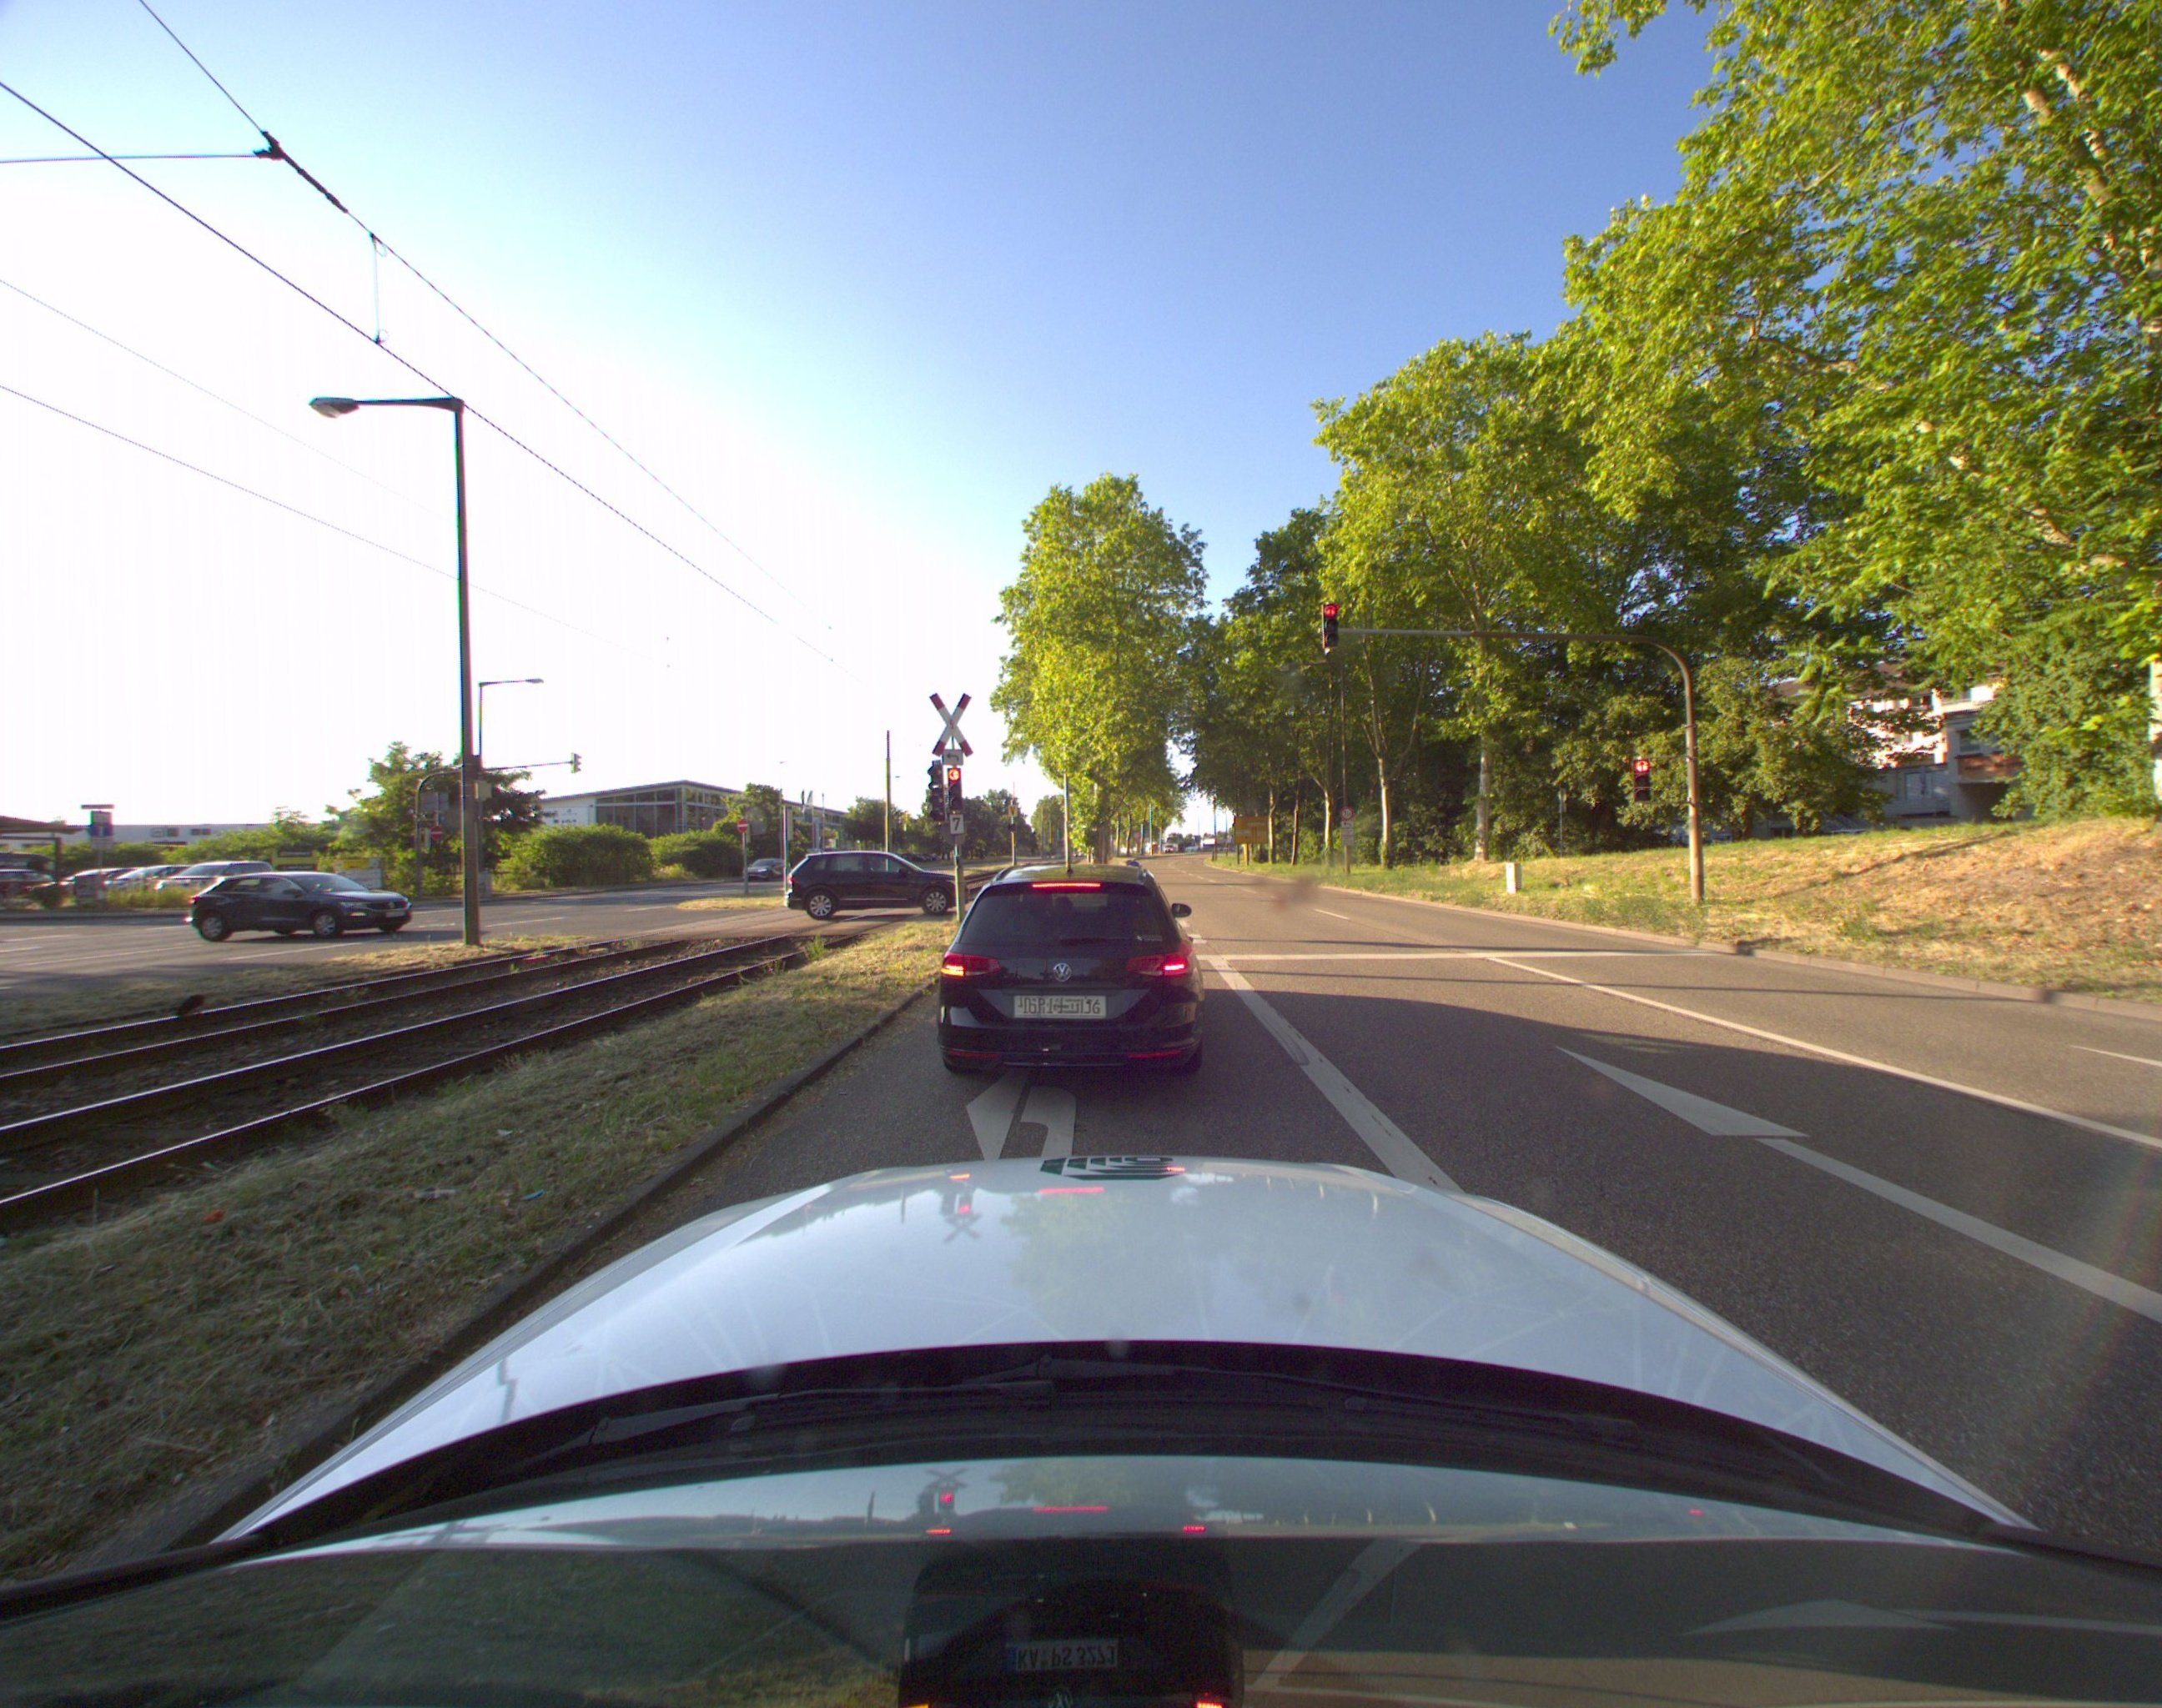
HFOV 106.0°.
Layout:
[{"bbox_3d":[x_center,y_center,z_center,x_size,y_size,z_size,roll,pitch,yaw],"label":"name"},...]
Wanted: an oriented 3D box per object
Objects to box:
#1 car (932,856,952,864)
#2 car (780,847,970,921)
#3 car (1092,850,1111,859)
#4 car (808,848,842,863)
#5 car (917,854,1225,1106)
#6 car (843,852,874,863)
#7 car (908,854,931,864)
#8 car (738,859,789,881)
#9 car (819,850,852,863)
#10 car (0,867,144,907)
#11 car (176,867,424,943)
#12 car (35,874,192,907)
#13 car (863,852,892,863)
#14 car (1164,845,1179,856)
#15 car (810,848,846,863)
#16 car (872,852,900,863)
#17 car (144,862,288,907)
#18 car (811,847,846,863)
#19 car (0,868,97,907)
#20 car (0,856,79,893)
[{"bbox_3d":[-28.808,1.199,168.941,3.977,1.556,1.742,-1,0,-2],"label":"car"},{"bbox_3d":[-5.057,0.698,20.386,4.358,1.635,1.871,-2,0,-12],"label":"car"},{"bbox_3d":[3.693,0.037,145.585,1.845,1.481,4.115,0,0,24],"label":"car"},{"bbox_3d":[-31.641,0.139,100.539,3.999,1.816,1.732,-1,0,-19],"label":"car"},{"bbox_3d":[-0.013,0.737,6.544,1.788,1.464,3.584,0,0,1],"label":"car"},{"bbox_3d":[-31.433,0.485,115.334,3.983,1.556,1.739,-1,0,-7],"label":"car"},{"bbox_3d":[-29.101,0.880,146.861,3.978,1.621,1.742,-1,0,-3],"label":"car"},{"bbox_3d":[-23.151,1.156,59.495,1.854,1.481,4.176,0,0,3],"label":"car"},{"bbox_3d":[-31.147,0.309,103.439,3.999,1.556,1.732,-1,0,-19],"label":"car"},{"bbox_3d":[-44.706,1.405,35.913,1.855,1.583,4.174,0,0,2],"label":"car"},{"bbox_3d":[-18.397,1.175,19.329,4.139,1.561,1.713,-2,0,0],"label":"car"},{"bbox_3d":[-42.466,1.564,35.910,1.855,1.267,4.174,0,0,2],"label":"car"},{"bbox_3d":[-30.603,0.556,122.767,3.978,1.621,1.742,-1,0,-3],"label":"car"},{"bbox_3d":[20.162,-0.718,181.688,2.078,2.461,5.881,0,0,19],"label":"car"},{"bbox_3d":[-29.257,0.154,94.135,3.999,1.704,1.732,-1,0,-19],"label":"car"},{"bbox_3d":[-30.115,0.600,125.968,3.978,1.621,1.742,-1,0,-3],"label":"car"},{"bbox_3d":[-38.518,1.324,36.431,1.855,1.821,4.174,0,0,2],"label":"car"},{"bbox_3d":[-30.598,0.137,98.759,3.999,1.816,1.732,-1,0,-19],"label":"car"},{"bbox_3d":[-47.155,1.453,36.065,1.970,1.583,4.174,0,0,2],"label":"car"},{"bbox_3d":[-60.416,1.153,45.925,1.855,2.014,4.773,0,0,2],"label":"car"}]
